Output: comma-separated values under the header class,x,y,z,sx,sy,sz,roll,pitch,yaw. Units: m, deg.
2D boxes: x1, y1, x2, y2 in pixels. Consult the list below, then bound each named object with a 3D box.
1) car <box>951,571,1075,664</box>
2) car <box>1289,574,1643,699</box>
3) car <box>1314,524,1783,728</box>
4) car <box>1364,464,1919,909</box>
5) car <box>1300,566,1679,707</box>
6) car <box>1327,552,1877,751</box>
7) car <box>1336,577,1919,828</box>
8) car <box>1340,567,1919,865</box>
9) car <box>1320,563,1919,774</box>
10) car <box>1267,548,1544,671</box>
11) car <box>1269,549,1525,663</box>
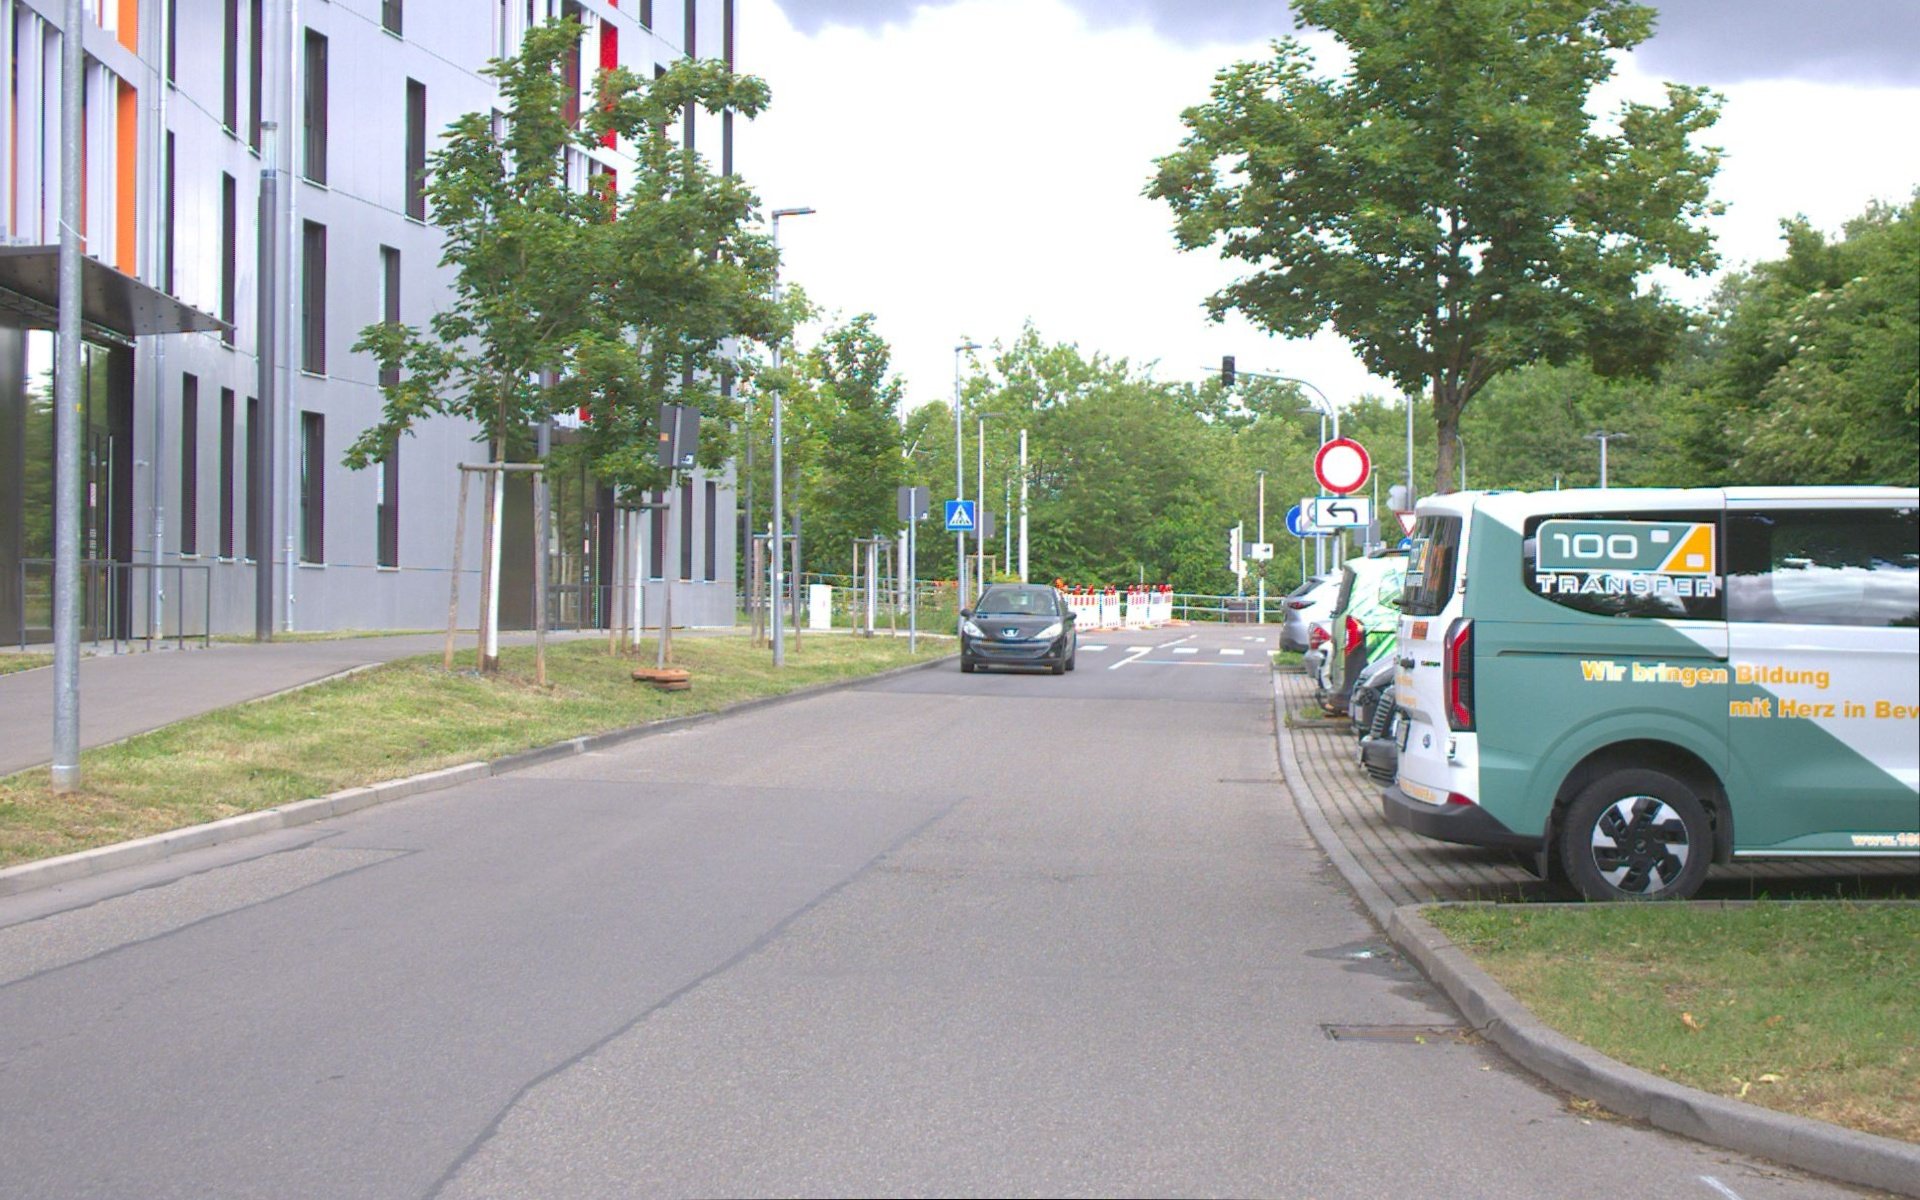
class,x,y,z,sx,sy,sz,roll,pitch,yaw
car,0.896,0.256,55.550,1.609,1.383,3.999,2,1,6
car,6.552,0.459,44.863,4.379,1.470,1.916,1,1,3
car,5.780,0.247,34.184,4.379,1.897,1.916,-1,1,3
car,4.548,0.354,16.413,4.972,1.965,1.847,-1,1,0
car,6.424,0.431,42.075,4.379,1.568,1.916,1,0,3
car,5.388,0.420,29.333,4.379,1.571,1.916,-1,1,3
car,4.770,0.601,21.475,4.724,1.429,2.056,-1,1,4
car,4.522,0.597,18.974,4.704,1.511,1.846,-1,1,3
car,5.289,0.500,26.791,4.725,1.493,2.111,-1,1,0
car,7.358,0.142,57.084,4.379,1.897,1.916,1,1,3
car,7.769,0.092,61.469,4.379,1.897,1.916,1,1,3
